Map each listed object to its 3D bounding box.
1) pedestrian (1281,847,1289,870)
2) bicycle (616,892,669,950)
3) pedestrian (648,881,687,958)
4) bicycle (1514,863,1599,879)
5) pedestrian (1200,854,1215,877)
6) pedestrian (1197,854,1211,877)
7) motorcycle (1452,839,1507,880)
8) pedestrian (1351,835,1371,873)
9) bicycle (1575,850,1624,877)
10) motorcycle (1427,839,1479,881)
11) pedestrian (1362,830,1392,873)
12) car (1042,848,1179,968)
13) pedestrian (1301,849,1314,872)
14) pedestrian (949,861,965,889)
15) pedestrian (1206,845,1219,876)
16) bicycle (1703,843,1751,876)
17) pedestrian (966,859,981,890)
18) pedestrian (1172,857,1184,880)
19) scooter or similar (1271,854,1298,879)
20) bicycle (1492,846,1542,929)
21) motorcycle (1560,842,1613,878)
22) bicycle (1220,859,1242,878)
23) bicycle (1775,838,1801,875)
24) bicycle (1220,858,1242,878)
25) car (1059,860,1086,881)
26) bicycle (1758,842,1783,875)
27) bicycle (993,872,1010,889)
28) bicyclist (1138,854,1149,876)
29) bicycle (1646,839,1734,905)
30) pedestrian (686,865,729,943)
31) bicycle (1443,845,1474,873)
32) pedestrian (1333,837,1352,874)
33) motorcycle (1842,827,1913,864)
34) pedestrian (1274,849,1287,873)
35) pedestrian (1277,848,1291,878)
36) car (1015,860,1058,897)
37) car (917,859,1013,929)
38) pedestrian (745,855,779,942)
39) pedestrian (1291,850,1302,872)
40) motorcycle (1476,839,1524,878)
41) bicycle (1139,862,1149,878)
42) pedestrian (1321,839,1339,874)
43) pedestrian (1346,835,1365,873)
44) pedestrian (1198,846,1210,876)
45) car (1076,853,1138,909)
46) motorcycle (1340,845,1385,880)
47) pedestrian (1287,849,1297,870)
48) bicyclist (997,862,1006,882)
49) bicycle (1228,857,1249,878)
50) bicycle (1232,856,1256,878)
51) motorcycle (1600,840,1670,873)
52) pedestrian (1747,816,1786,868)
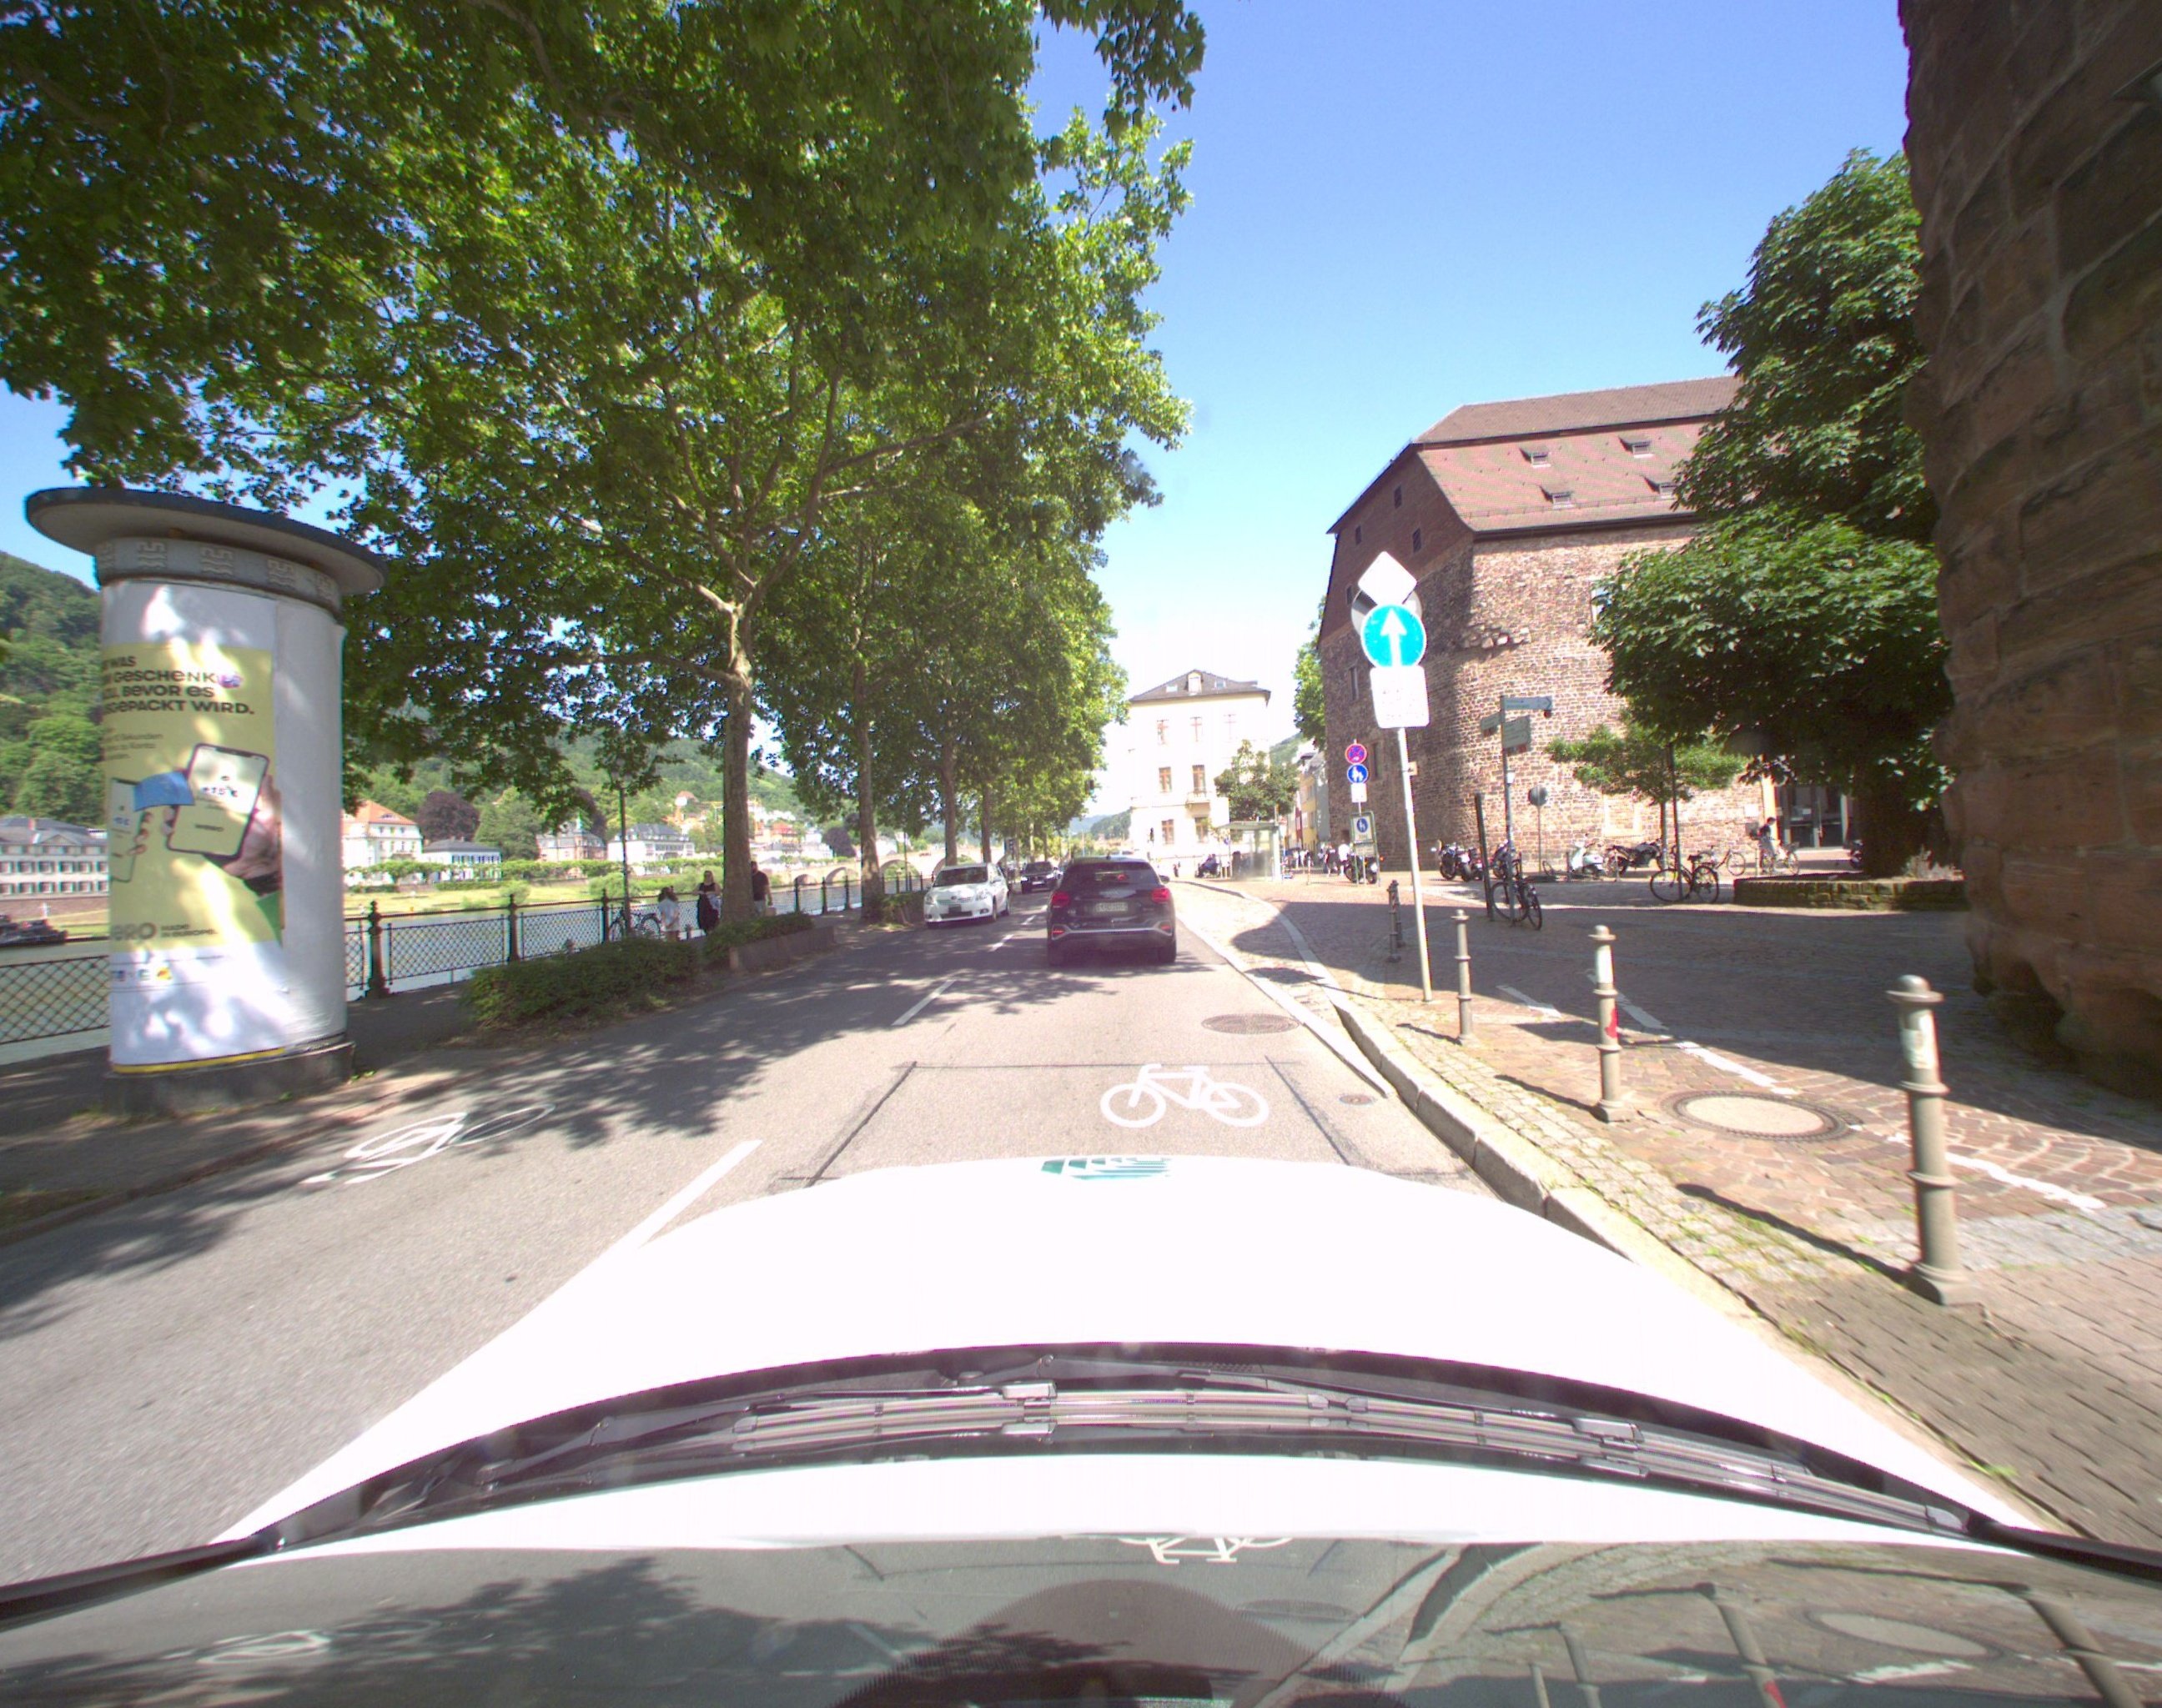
[{"bbox_3d":[14.945,0.343,59.648,0.447,1.680,0.467,-1,-2,5],"label":"pedestrian"},{"bbox_3d":[-9.008,1.354,16.771,0.358,1.091,1.296,1,0,1],"label":"bicycle"},{"bbox_3d":[-7.570,1.193,14.919,0.476,1.363,0.418,-1,-1,5],"label":"pedestrian"},{"bbox_3d":[13.487,0.474,23.167,1.914,0.381,0.921,-2,-2,16],"label":"bicycle"},{"bbox_3d":[6.825,0.630,43.966,0.662,1.212,0.640,-1,-1,-4],"label":"pedestrian"},{"bbox_3d":[6.750,0.621,44.722,0.662,1.231,0.640,-1,-1,-4],"label":"pedestrian"},{"bbox_3d":[12.755,0.196,26.121,0.672,1.235,2.313,-1,-1,2],"label":"motorcycle"},{"bbox_3d":[14.700,0.010,42.832,0.727,2.014,0.878,-1,-1,1],"label":"pedestrian"},{"bbox_3d":[16.503,0.302,25.959,0.352,0.820,1.926,-1,0,1],"label":"bicycle"},{"bbox_3d":[11.846,0.209,25.994,0.653,1.266,2.201,-2,-1,2],"label":"motorcycle"},{"bbox_3d":[13.723,-0.099,37.701,0.833,1.948,0.906,-2,-1,-36],"label":"pedestrian"},{"bbox_3d":[0.438,0.713,12.413,1.736,1.509,3.648,-2,0,2],"label":"car"},{"bbox_3d":[20.556,0.605,73.962,0.936,2.014,0.808,-1,-1,2],"label":"pedestrian"},{"bbox_3d":[-7.909,1.337,51.999,0.906,1.811,0.586,-1,-2,6],"label":"pedestrian"},{"bbox_3d":[8.869,0.441,55.105,0.632,2.014,0.670,-2,-2,31],"label":"pedestrian"},{"bbox_3d":[19.630,0.173,24.779,0.358,0.966,1.381,-1,-1,1],"label":"bicycle"},{"bbox_3d":[-7.140,1.348,54.098,0.906,2.014,0.586,-1,-2,6],"label":"pedestrian"},{"bbox_3d":[6.465,0.969,54.060,0.691,1.500,0.513,-1,-1,-3],"label":"pedestrian"},{"bbox_3d":[8.789,0.525,35.165,1.085,1.066,0.323,-1,-2,-1],"label":"scooter or similar"},{"bbox_3d":[6.735,0.474,12.630,0.192,1.204,1.775,-2,0,13],"label":"bicycle"},{"bbox_3d":[15.395,0.198,24.866,0.505,1.073,1.840,-1,-1,2],"label":"motorcycle"},{"bbox_3d":[8.337,0.791,45.256,1.187,1.016,0.178,0,-2,-17],"label":"bicycle"},{"bbox_3d":[21.345,0.061,24.602,0.356,1.085,1.390,-2,-1,33],"label":"bicycle"},{"bbox_3d":[8.192,0.762,44.508,1.205,1.035,0.178,0,-2,-17],"label":"bicycle"},{"bbox_3d":[-0.720,1.425,70.326,1.985,1.807,4.003,-1,-1,3],"label":"car"},{"bbox_3d":[20.294,0.148,23.984,0.356,0.949,1.390,-2,-2,33],"label":"bicycle"},{"bbox_3d":[-5.062,1.687,51.953,1.091,1.006,0.303,-1,-2,-5],"label":"bicycle"},{"bbox_3d":[4.185,0.737,54.407,0.604,1.450,0.590,-1,-1,-3],"label":"bicyclist"},{"bbox_3d":[11.442,0.326,15.364,0.444,1.162,1.732,-3,0,5],"label":"bicycle"},{"bbox_3d":[-8.304,1.102,18.113,0.599,1.685,0.583,-3,-1,0],"label":"pedestrian"},{"bbox_3d":[16.643,0.220,35.930,0.388,1.209,1.715,-1,-1,-6],"label":"bicycle"},{"bbox_3d":[13.332,0.076,41.524,0.666,1.884,0.821,-1,-1,1],"label":"pedestrian"},{"bbox_3d":[23.624,-0.231,24.183,0.386,1.034,1.610,-1,-1,-5],"label":"motorcycle"},{"bbox_3d":[17.078,0.616,69.809,0.941,2.014,0.808,-1,-1,2],"label":"pedestrian"},{"bbox_3d":[9.548,0.440,38.290,0.555,1.385,0.588,-1,-1,4],"label":"pedestrian"},{"bbox_3d":[-2.412,1.305,45.254,1.806,1.725,4.423,-8,-1,2],"label":"car"},{"bbox_3d":[-3.038,0.997,22.141,1.732,1.572,4.093,-6,-1,2],"label":"car"},{"bbox_3d":[-7.088,0.980,18.117,0.532,1.887,0.437,-2,-1,1],"label":"pedestrian"},{"bbox_3d":[19.536,0.655,73.875,0.836,2.014,0.738,-1,-1,2],"label":"pedestrian"},{"bbox_3d":[13.560,0.161,26.395,0.544,1.235,2.031,-1,-1,2],"label":"motorcycle"},{"bbox_3d":[4.182,1.075,54.360,0.436,1.086,1.675,-1,-1,-2],"label":"bicycle"},{"bbox_3d":[13.086,0.129,42.850,0.649,1.802,0.847,-2,-1,1],"label":"pedestrian"},{"bbox_3d":[14.101,0.002,41.879,0.666,1.920,0.821,-1,-1,1],"label":"pedestrian"},{"bbox_3d":[8.433,0.477,55.825,0.632,2.014,0.670,-2,-2,31],"label":"pedestrian"},{"bbox_3d":[0.822,0.805,25.554,1.786,1.595,3.400,-1,-1,2],"label":"car"},{"bbox_3d":[8.925,0.266,25.930,0.564,1.012,2.490,-3,0,1],"label":"motorcycle"},{"bbox_3d":[15.469,0.399,59.617,0.619,1.532,0.467,-1,-2,5],"label":"pedestrian"},{"bbox_3d":[-5.064,1.152,51.986,0.565,1.311,0.551,-1,-1,-3],"label":"bicyclist"},{"bbox_3d":[8.478,0.724,43.789,1.160,1.070,0.178,0,-2,-17],"label":"bicycle"},{"bbox_3d":[8.638,0.693,43.081,1.307,1.128,0.178,0,-2,-17],"label":"bicycle"},{"bbox_3d":[18.232,0.097,26.831,1.854,1.054,0.481,-1,-1,9],"label":"motorcycle"},{"bbox_3d":[22.779,-0.402,27.076,0.799,1.662,0.660,-3,-1,26],"label":"pedestrian"}]
